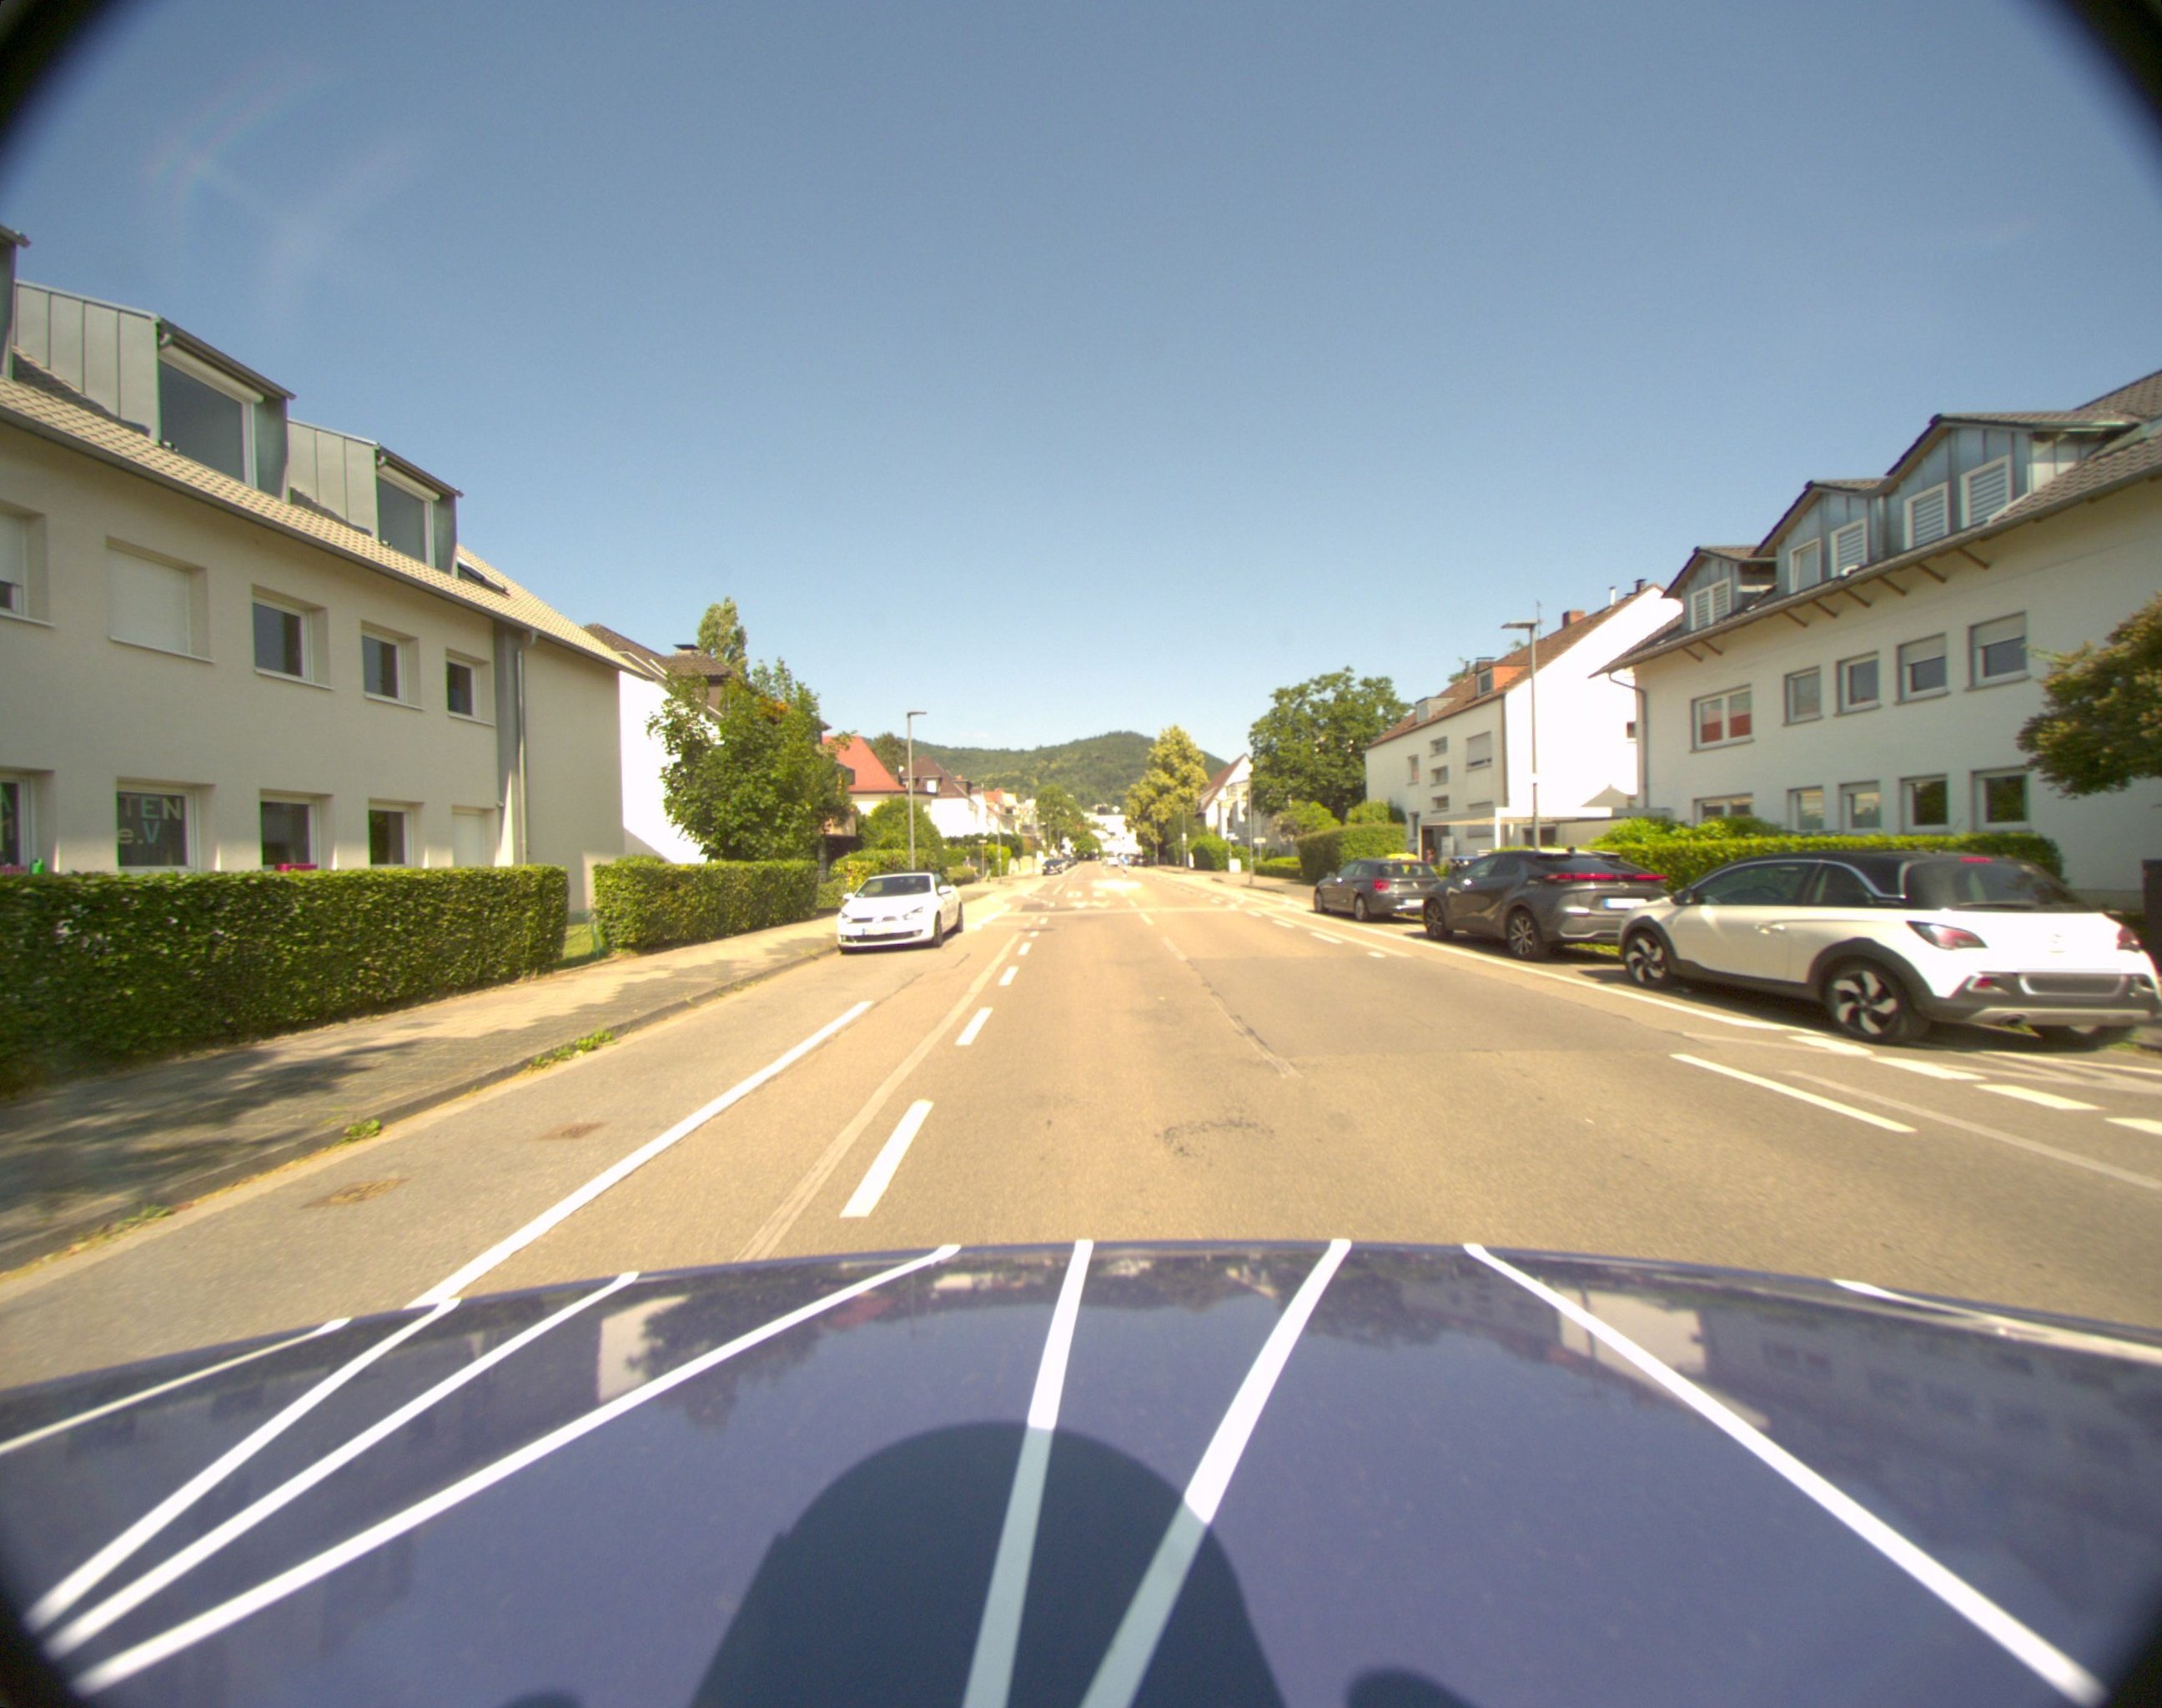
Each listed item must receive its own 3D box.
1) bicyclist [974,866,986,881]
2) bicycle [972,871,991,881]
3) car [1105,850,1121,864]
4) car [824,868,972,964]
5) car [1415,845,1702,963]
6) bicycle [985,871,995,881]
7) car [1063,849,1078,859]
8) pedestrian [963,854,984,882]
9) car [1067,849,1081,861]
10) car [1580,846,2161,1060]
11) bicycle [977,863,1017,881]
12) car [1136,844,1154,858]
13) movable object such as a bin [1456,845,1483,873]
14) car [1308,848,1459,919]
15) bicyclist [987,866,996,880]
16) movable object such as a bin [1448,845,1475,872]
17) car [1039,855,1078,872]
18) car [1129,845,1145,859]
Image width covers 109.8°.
[{"bbox_3d":[-6.575,1.254,49.478,0.609,0.928,0.399,-4,2,-29],"label":"bicyclist"},{"bbox_3d":[-6.508,1.440,49.523,1.153,0.596,0.401,-3,1,-29],"label":"bicycle"},{"bbox_3d":[4.311,0.391,102.955,1.920,1.657,4.505,-1,1,0],"label":"car"},{"bbox_3d":[-3.338,1.067,14.709,1.744,1.394,4.073,-3,1,1],"label":"car"},{"bbox_3d":[6.801,0.600,11.449,1.789,1.432,4.110,-1,1,1],"label":"car"},{"bbox_3d":[-6.153,1.487,51.334,0.403,0.596,1.171,-3,1,-19],"label":"bicycle"},{"bbox_3d":[-1.617,-0.051,116.282,1.622,1.440,4.002,-2,0,8],"label":"car"},{"bbox_3d":[-7.359,0.941,51.979,0.903,1.862,1.186,-4,2,-32],"label":"pedestrian"},{"bbox_3d":[-0.961,0.103,100.120,1.726,1.441,4.167,-6,1,-1],"label":"car"},{"bbox_3d":[6.853,0.647,7.105,1.789,1.432,4.000,0,1,1],"label":"car"},{"bbox_3d":[-5.685,1.228,51.589,2.704,1.152,0.865,-2,2,33],"label":"bicycle"},{"bbox_3d":[8.285,-0.421,98.964,1.856,1.601,4.447,-3,1,-1],"label":"car"},{"bbox_3d":[15.661,0.183,30.654,0.702,1.085,0.707,-3,2,-3],"label":"movable object such as a bin"},{"bbox_3d":[6.856,0.590,17.724,1.790,1.432,4.153,-1,1,-1],"label":"car"},{"bbox_3d":[-6.044,1.280,51.431,0.403,0.924,0.656,-3,2,-22],"label":"bicyclist"},{"bbox_3d":[15.638,0.174,31.250,0.702,1.085,0.707,-3,2,-3],"label":"movable object such as a bin"},{"bbox_3d":[-1.985,0.852,69.412,1.738,1.460,4.352,-2,0,25],"label":"car"},{"bbox_3d":[8.253,-0.243,111.906,1.889,1.908,4.868,-3,0,0],"label":"car"}]
